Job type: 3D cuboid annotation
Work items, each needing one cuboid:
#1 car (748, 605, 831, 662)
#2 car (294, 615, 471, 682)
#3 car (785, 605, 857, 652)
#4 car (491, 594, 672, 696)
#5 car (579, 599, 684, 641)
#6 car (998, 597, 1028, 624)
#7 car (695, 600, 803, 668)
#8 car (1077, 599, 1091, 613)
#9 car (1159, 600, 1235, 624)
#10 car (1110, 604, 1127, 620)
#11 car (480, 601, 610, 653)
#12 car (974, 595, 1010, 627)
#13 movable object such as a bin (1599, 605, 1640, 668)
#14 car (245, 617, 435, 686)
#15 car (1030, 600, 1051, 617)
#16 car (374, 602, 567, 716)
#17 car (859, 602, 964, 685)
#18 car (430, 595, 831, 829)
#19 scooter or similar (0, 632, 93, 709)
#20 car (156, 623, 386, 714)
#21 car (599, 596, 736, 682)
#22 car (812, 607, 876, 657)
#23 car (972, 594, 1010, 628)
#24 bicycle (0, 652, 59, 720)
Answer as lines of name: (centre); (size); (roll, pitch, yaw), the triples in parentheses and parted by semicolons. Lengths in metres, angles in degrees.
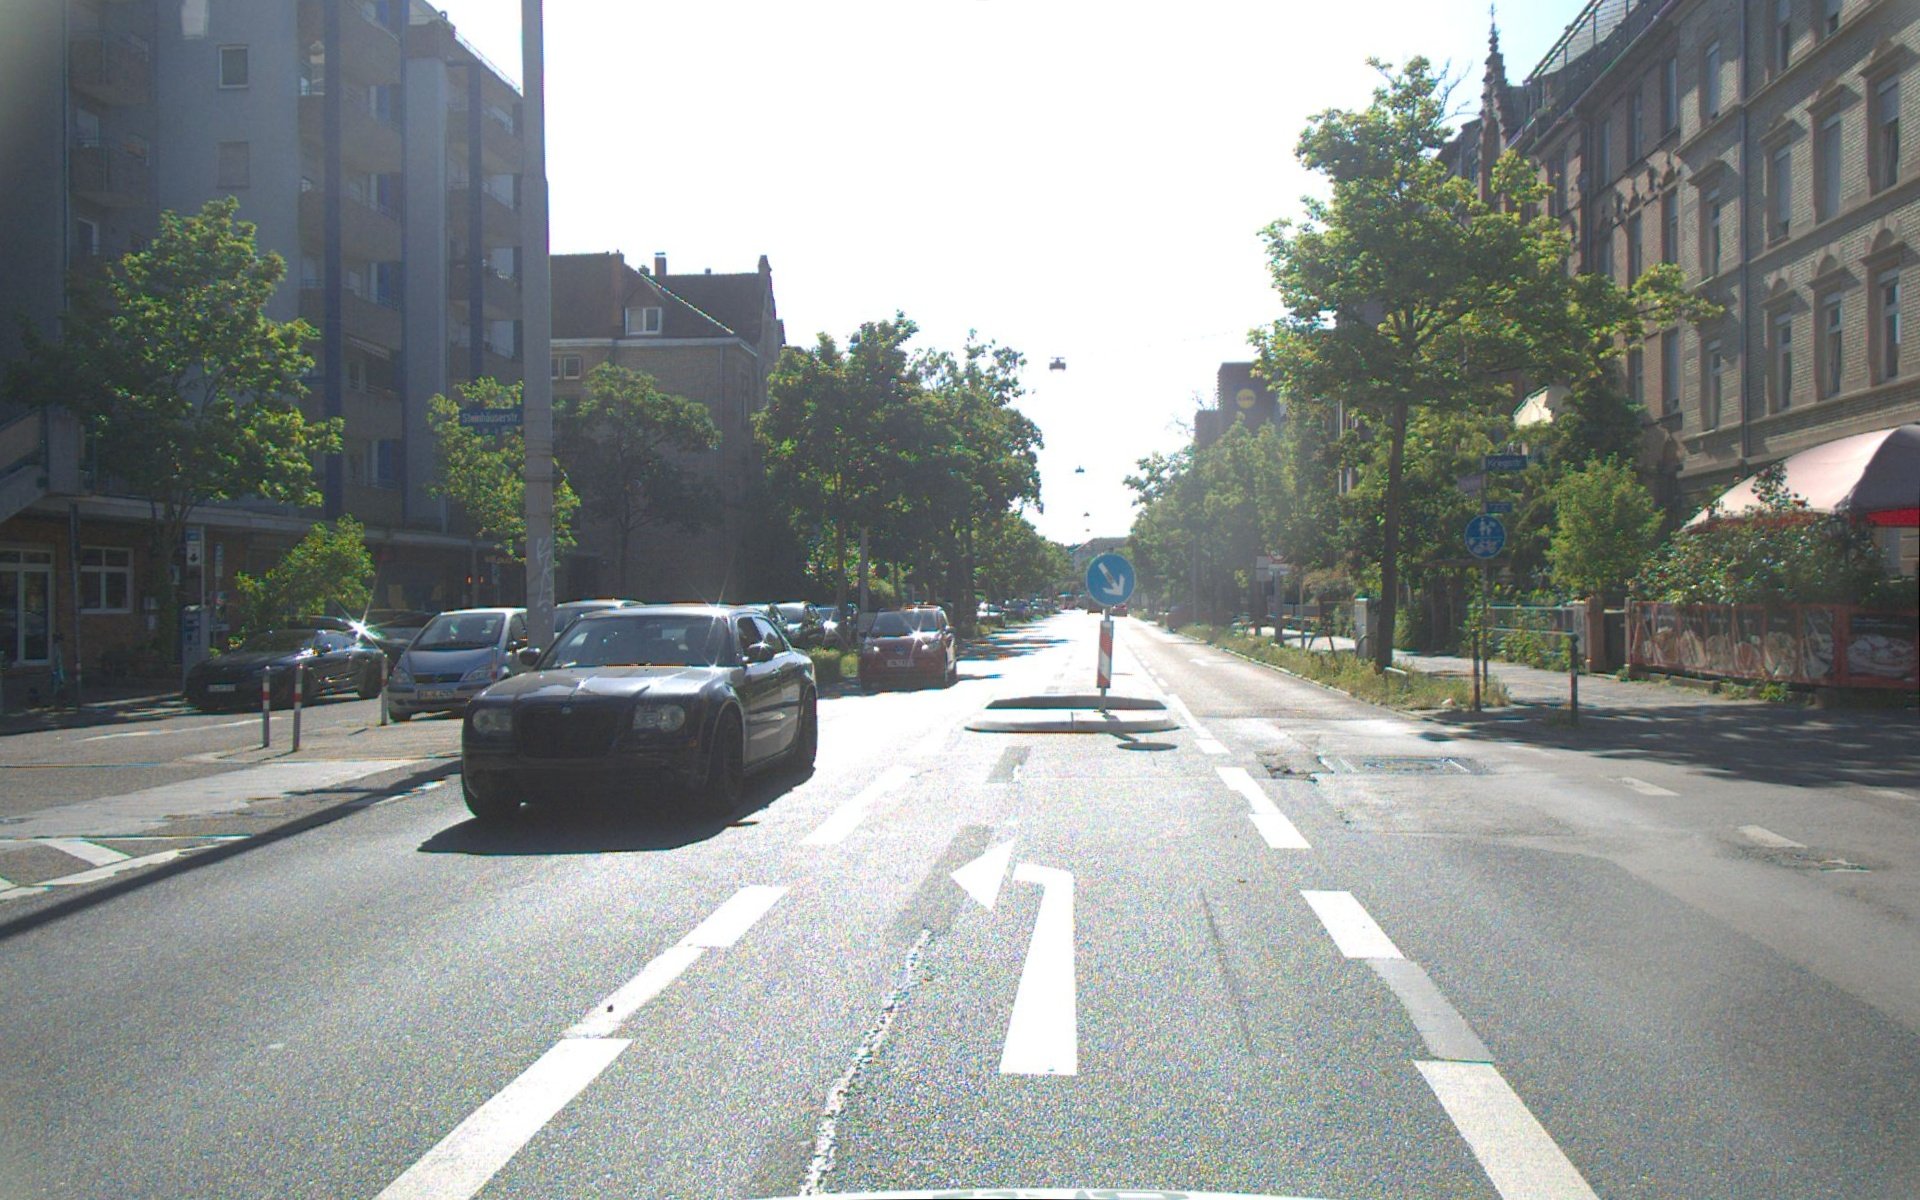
car: (-5.008, 0.961, 48.978); (1.714, 1.580, 4.002); (-1, 0, 4)
car: (-14.860, 1.234, 42.704); (3.904, 1.635, 1.842); (-1, 0, 1)
car: (-4.525, 0.909, 54.279); (1.717, 1.422, 4.002); (-1, 0, 4)
car: (-6.733, 0.754, 29.924); (1.828, 1.656, 4.507); (-1, 0, 5)
car: (-13.395, 0.812, 67.614); (3.904, 1.658, 1.688); (-1, 0, 1)
car: (4.210, 0.810, 130.792); (2.017, 2.049, 4.632); (-1, 0, 6)
car: (-5.436, 0.849, 43.114); (1.823, 1.615, 4.003); (-2, 0, 7)
car: (16.253, 0.801, 217.495); (1.721, 1.815, 4.003); (-1, 0, 6)
car: (12.857, 0.649, 89.574); (3.953, 1.244, 1.782); (0, 0, -35)
car: (17.916, 1.376, 187.034); (1.910, 1.738, 4.003); (-1, 0, 6)
car: (-13.934, 0.901, 55.669); (3.904, 1.658, 1.688); (-1, 0, 1)
car: (2.154, 0.720, 109.666); (1.951, 2.049, 4.208); (-1, 0, 7)
movable object such as a bin: (12.216, 0.677, 30.627); (0.556, 1.153, 0.552); (-1, 0, 5)
car: (-14.977, 1.230, 40.099); (3.904, 1.578, 1.770); (-1, 0, 1)
car: (8.763, 0.916, 179.805); (1.951, 1.725, 4.003); (-1, 0, 7)
car: (-7.236, 0.822, 24.787); (1.683, 1.545, 3.533); (-2, 0, 2)
car: (-0.869, 0.787, 31.394); (1.616, 1.453, 3.509); (-1, 0, 4)
car: (-2.328, 0.731, 13.019); (1.826, 1.484, 4.596); (-1, 0, 5)
scooter or similar: (-16.212, 1.222, 28.761); (1.926, 1.299, 0.631); (-1, 0, 0)
car: (-12.363, 1.185, 30.036); (1.851, 1.422, 4.533); (-1, 0, 7)
car: (-6.365, 0.815, 36.524); (1.849, 1.691, 4.533); (-3, 0, 4)
car: (-4.135, 1.122, 59.472); (1.725, 1.675, 4.002); (-1, 0, 5)
car: (1.974, 0.703, 103.823); (1.951, 2.049, 4.208); (-1, 0, 7)
bicycle: (-15.228, 1.376, 26.346); (0.405, 1.018, 1.803); (2, 1, 14)
